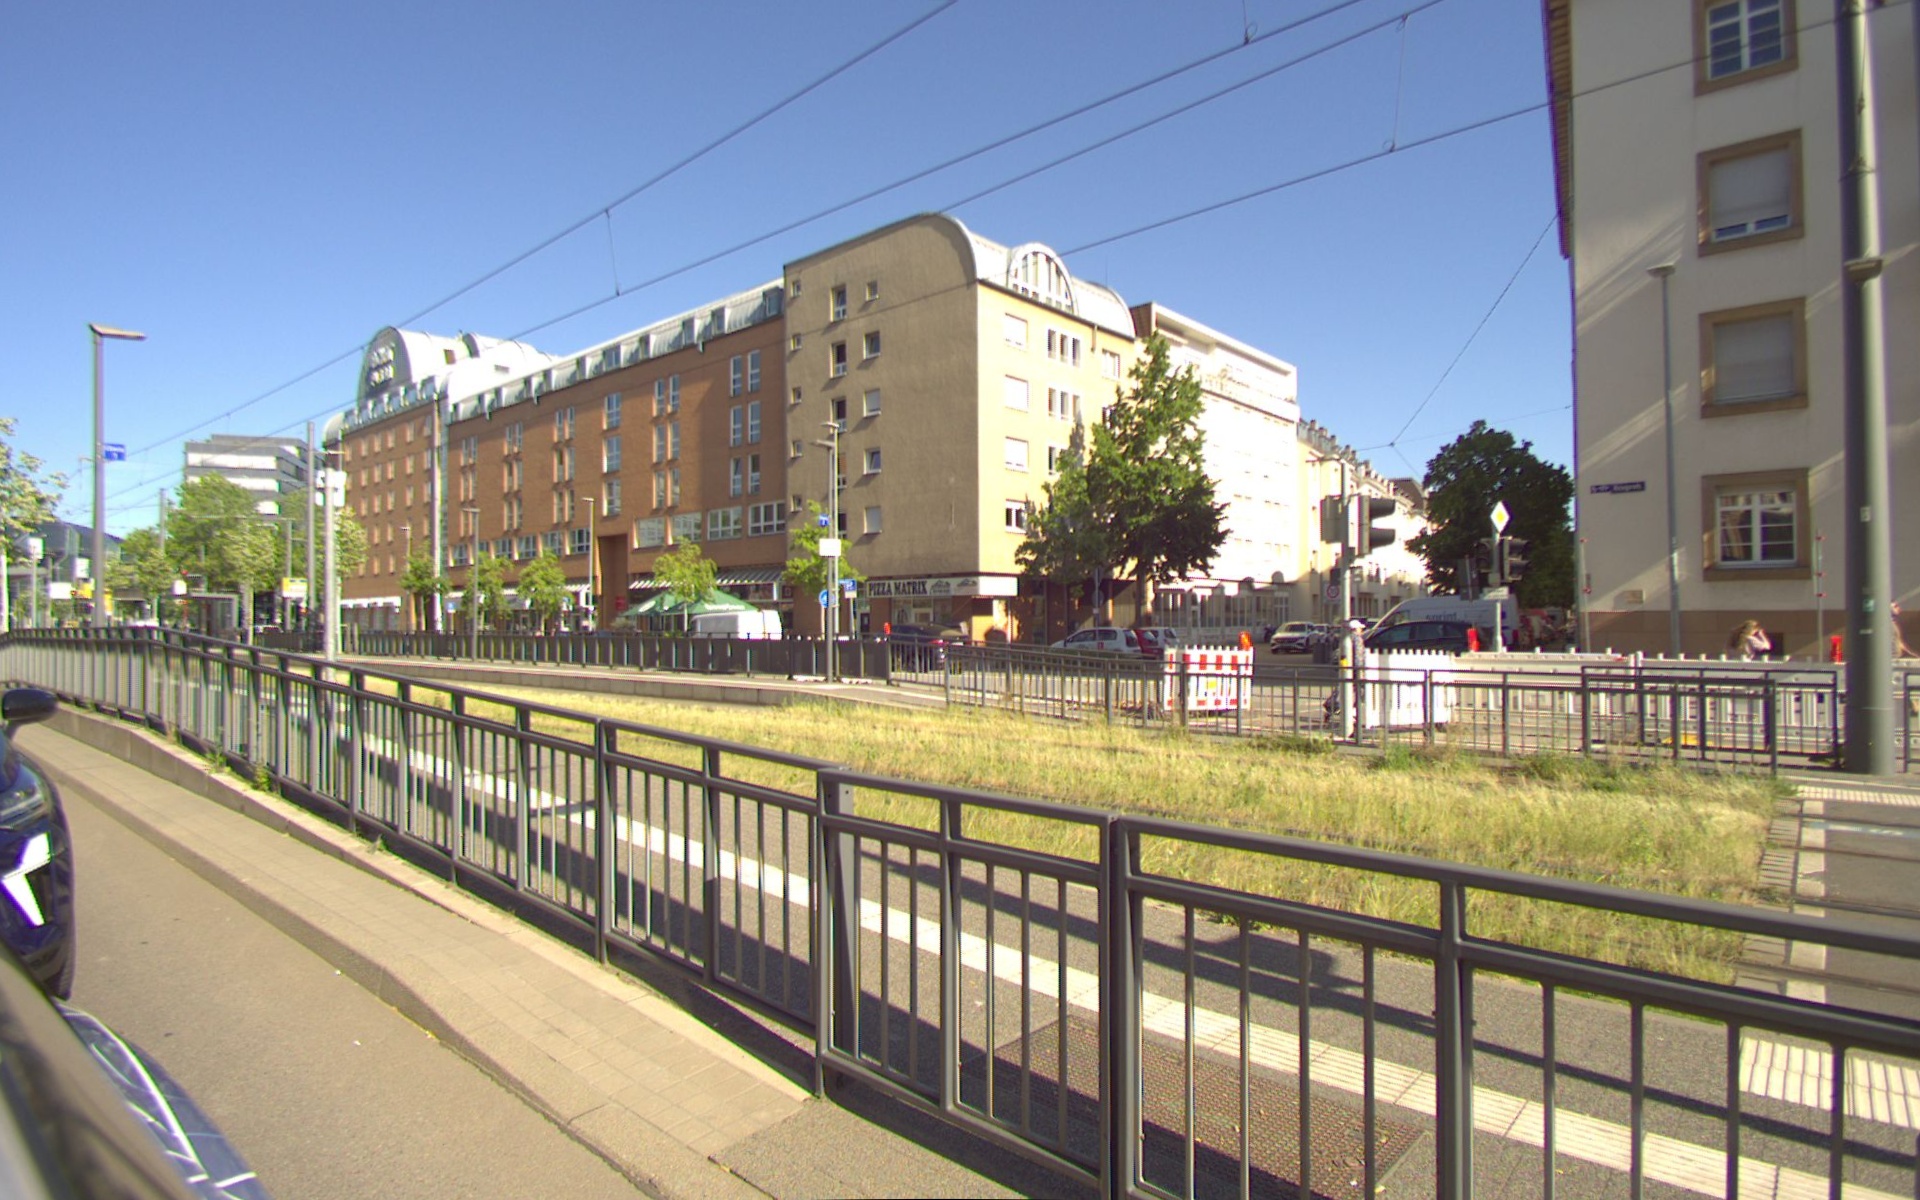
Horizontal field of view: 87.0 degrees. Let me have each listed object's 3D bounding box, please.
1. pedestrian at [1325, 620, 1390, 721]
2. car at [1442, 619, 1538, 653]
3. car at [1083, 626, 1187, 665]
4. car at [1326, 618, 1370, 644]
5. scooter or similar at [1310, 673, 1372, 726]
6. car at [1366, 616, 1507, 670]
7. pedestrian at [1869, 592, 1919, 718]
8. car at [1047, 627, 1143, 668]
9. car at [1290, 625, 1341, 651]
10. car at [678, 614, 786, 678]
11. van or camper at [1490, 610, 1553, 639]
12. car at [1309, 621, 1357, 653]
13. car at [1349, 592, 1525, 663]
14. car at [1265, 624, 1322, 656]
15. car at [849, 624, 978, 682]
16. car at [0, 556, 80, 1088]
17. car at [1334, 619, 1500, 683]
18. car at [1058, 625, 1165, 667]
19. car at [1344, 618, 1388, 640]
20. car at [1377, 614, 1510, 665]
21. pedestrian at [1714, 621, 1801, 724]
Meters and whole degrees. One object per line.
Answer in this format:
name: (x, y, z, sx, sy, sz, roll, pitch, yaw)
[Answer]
pedestrian: (6.175, 1.075, 15.713, 0.711, 1.515, 0.795, -2, -2, 40)
car: (25.754, 1.728, 49.191, 3.988, 1.567, 1.848, -1, 0, 33)
car: (7.337, 1.875, 42.596, 3.997, 1.497, 1.693, -1, 0, 40)
car: (25.297, 2.011, 65.866, 1.993, 1.630, 4.141, -1, -2, 31)
scooter or similar: (5.712, 1.478, 15.183, 0.711, 0.725, 0.599, -2, -2, 40)
car: (15.703, 1.363, 33.383, 3.989, 1.652, 1.848, -1, 0, 33)
pedestrian: (14.564, 0.822, 15.526, 0.871, 1.877, 0.758, -1, 0, 41)
car: (5.096, 1.781, 38.354, 3.334, 1.438, 1.424, -1, 0, 29)
car: (20.466, 2.173, 58.201, 1.993, 1.457, 4.141, -1, -2, 31)
car: (-9.085, 1.754, 40.008, 1.969, 2.314, 5.197, -1, 0, -41)
van or camper: (44.836, 1.909, 80.786, 4.332, 2.231, 1.931, -1, 0, 32)
car: (22.801, 2.226, 61.818, 1.839, 1.730, 4.033, -1, 0, 34)
car: (17.649, 0.977, 37.582, 5.737, 2.473, 1.979, -1, 0, 32)
car: (17.739, 2.105, 53.710, 1.993, 1.630, 4.141, -1, -2, 31)
car: (-1.507, 1.626, 32.045, 3.996, 1.652, 1.677, -1, 0, 39)
car: (-5.013, 0.742, 3.972, 4.418, 1.597, 1.736, -2, 1, 41)
car: (12.974, 1.400, 28.818, 3.994, 1.652, 1.846, -1, 0, 37)
car: (6.027, 1.795, 40.378, 3.955, 1.564, 1.457, -1, 0, 33)
car: (28.284, 2.041, 70.435, 1.995, 1.473, 4.137, -1, -2, 34)
car: (16.828, 1.348, 35.271, 3.989, 1.652, 1.848, -1, 0, 33)
pedestrian: (12.492, 1.105, 15.857, 1.020, 1.529, 0.778, -1, 0, 41)
